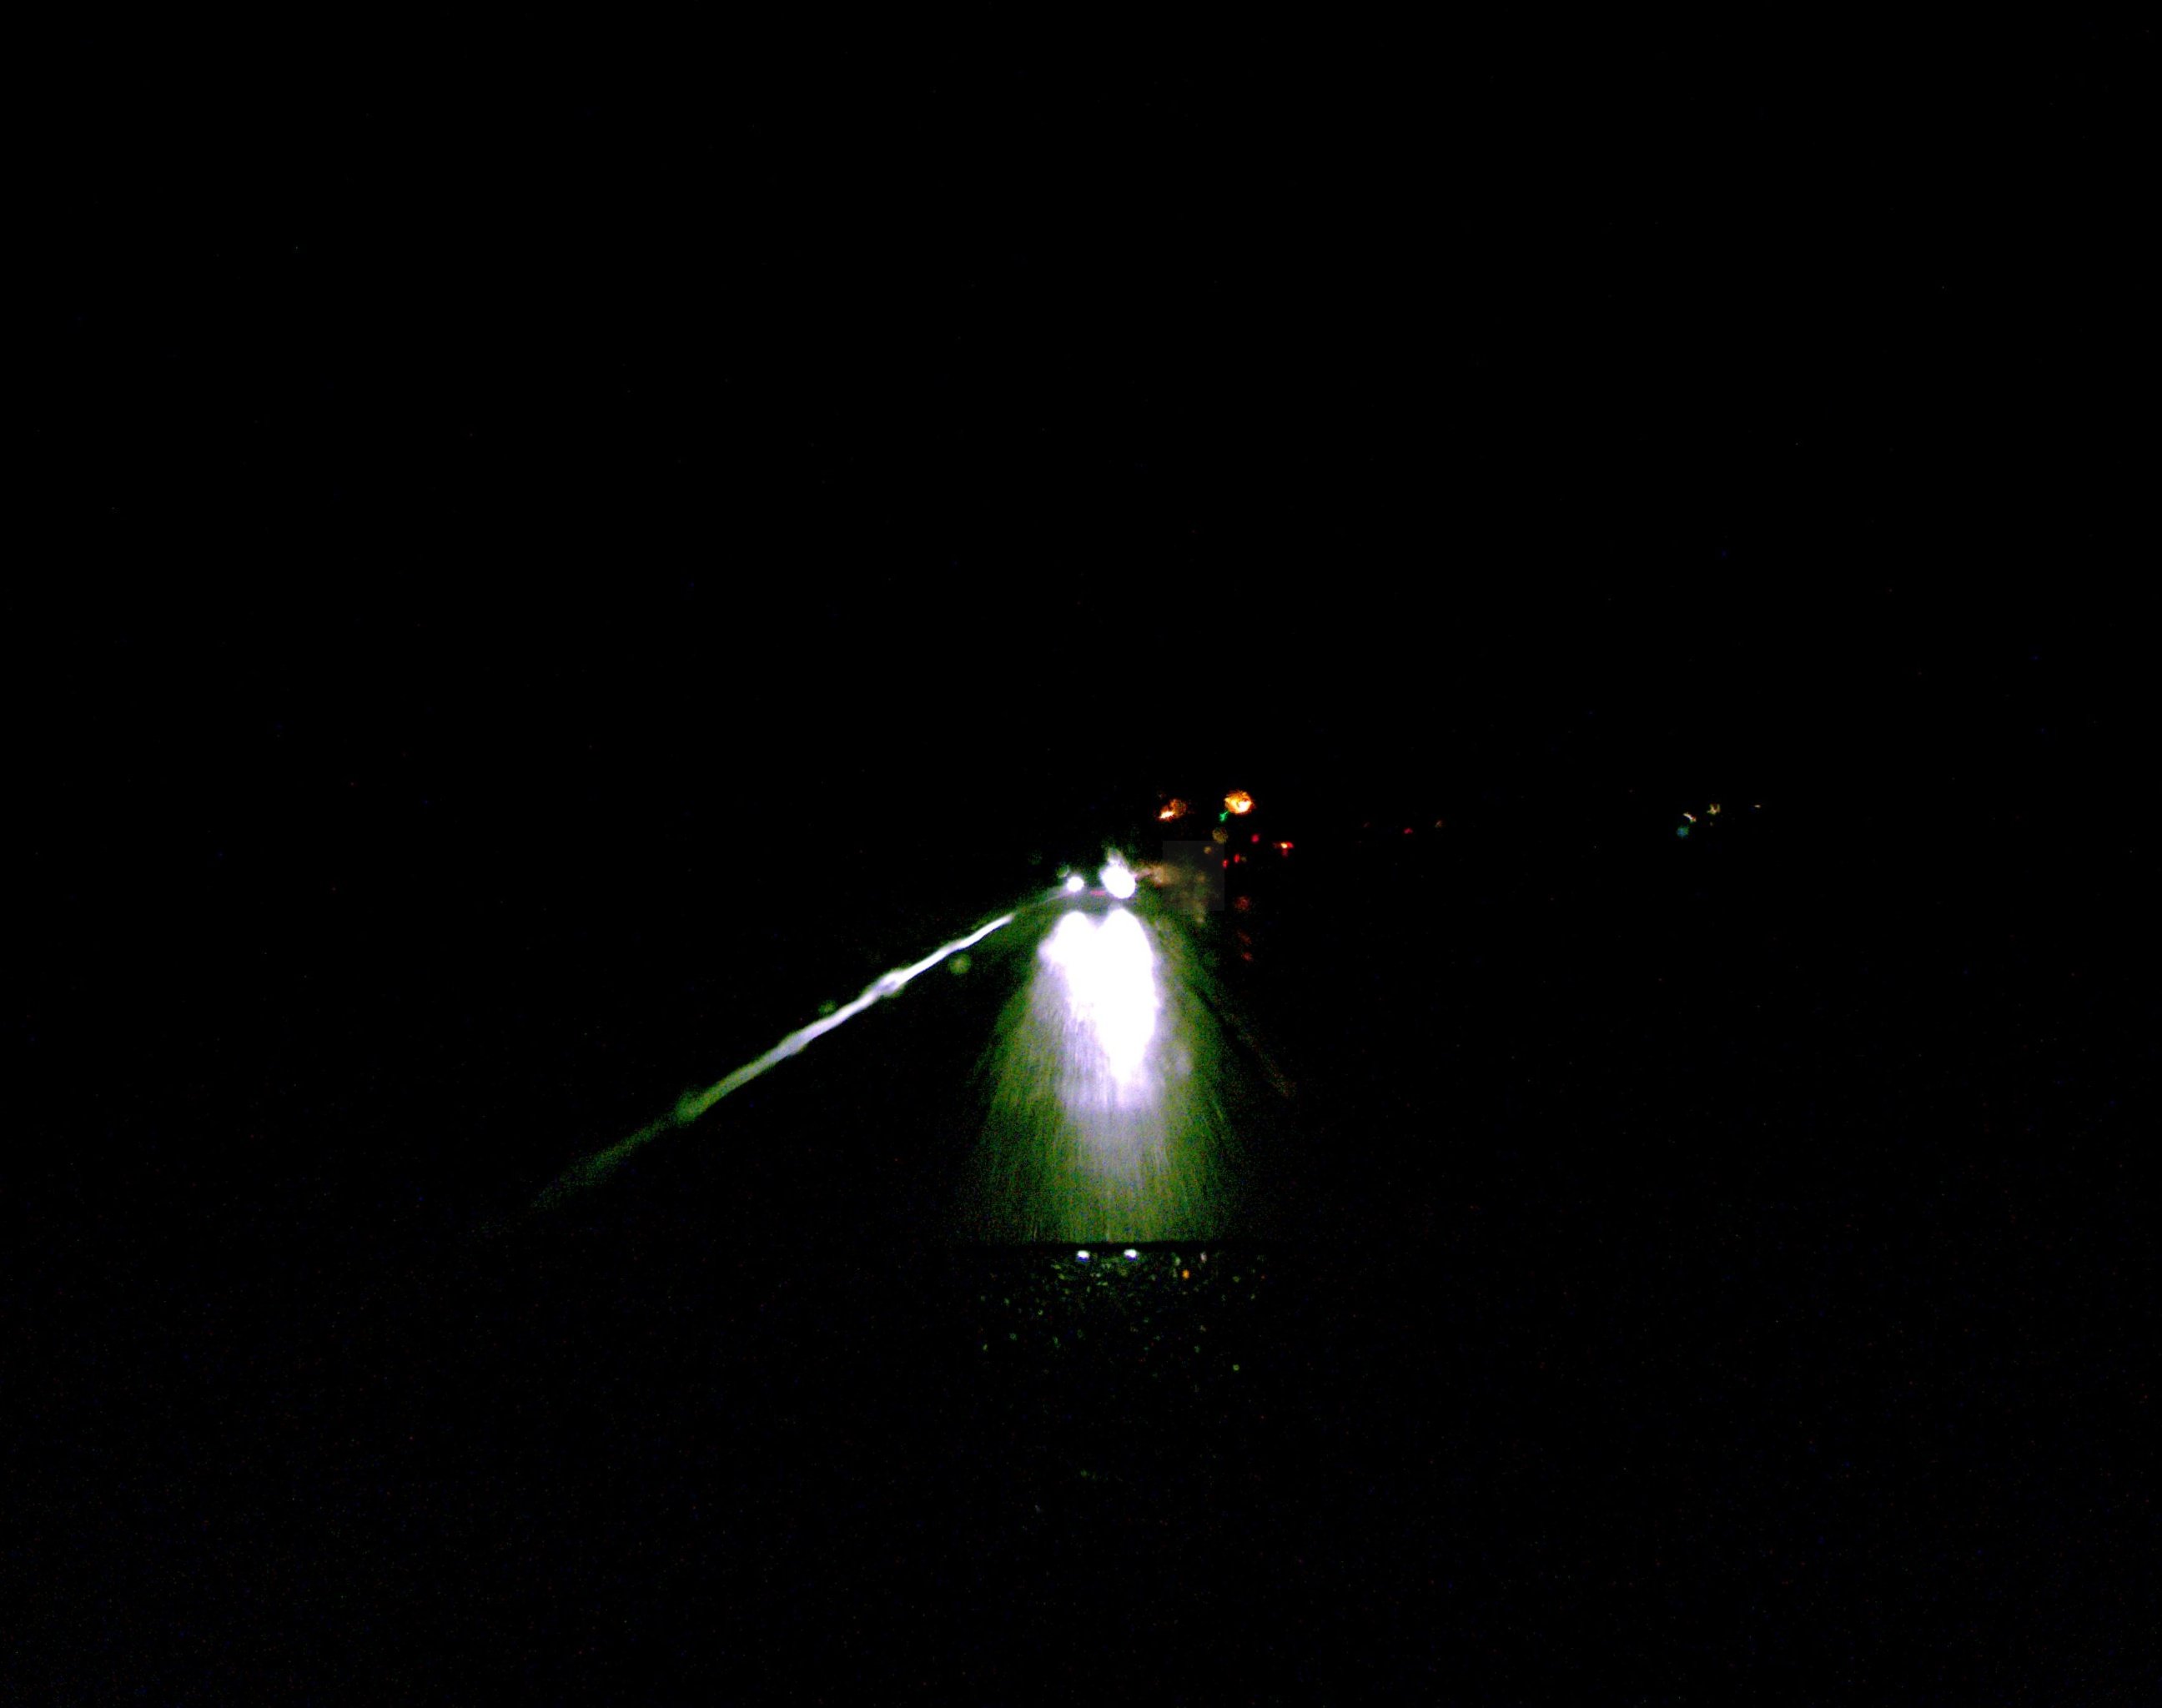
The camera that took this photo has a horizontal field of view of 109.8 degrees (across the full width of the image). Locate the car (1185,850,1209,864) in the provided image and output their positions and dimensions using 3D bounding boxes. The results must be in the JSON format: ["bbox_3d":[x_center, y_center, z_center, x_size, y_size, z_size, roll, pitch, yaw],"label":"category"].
[{"bbox_3d":[13.107,0.281,85.604,1.927,1.501,4.101,0,1,19],"label":"car"}]

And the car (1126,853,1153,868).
[{"bbox_3d":[6.621,0.711,85.786,1.675,1.557,3.808,-1,0,27],"label":"car"}]

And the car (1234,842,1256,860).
[{"bbox_3d":[21.167,-0.419,97.954,1.996,2.002,4.851,-3,1,21],"label":"car"}]

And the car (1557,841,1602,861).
[{"bbox_3d":[50.703,-0.363,77.425,1.940,1.688,4.627,-3,3,6],"label":"car"}]

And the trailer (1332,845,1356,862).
[{"bbox_3d":[27.340,-0.036,79.206,1.815,1.668,4.104,1,1,12],"label":"trailer"}]

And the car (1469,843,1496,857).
[{"bbox_3d":[52.639,-0.526,99.595,4.046,1.391,1.855,-6,7,-42],"label":"car"}]

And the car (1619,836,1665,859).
[{"bbox_3d":[56.073,-0.687,75.977,1.763,2.044,3.999,-3,3,4],"label":"car"}]

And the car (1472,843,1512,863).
[{"bbox_3d":[42.415,-0.134,78.484,1.940,1.688,4.627,-3,3,6],"label":"car"}]

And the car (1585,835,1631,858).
[{"bbox_3d":[53.583,-0.790,77.354,1.998,2.044,3.999,-3,3,4],"label":"car"}]

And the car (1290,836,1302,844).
[{"bbox_3d":[40.853,-2.656,144.065,1.636,1.502,4.123,1,1,23],"label":"car"}]

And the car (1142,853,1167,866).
[{"bbox_3d":[8.727,0.698,90.221,1.636,1.390,3.681,-1,1,27],"label":"car"}]

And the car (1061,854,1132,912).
[{"bbox_3d":[0.598,0.868,24.984,1.958,1.711,4.002,-1,0,6],"label":"car"}]

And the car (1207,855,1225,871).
[{"bbox_3d":[13.629,0.844,76.762,1.638,1.501,4.099,0,1,13],"label":"car"}]

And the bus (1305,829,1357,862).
[{"bbox_3d":[31.797,-1.256,97.415,2.899,3.847,13.057,-2,2,3],"label":"bus"}]
